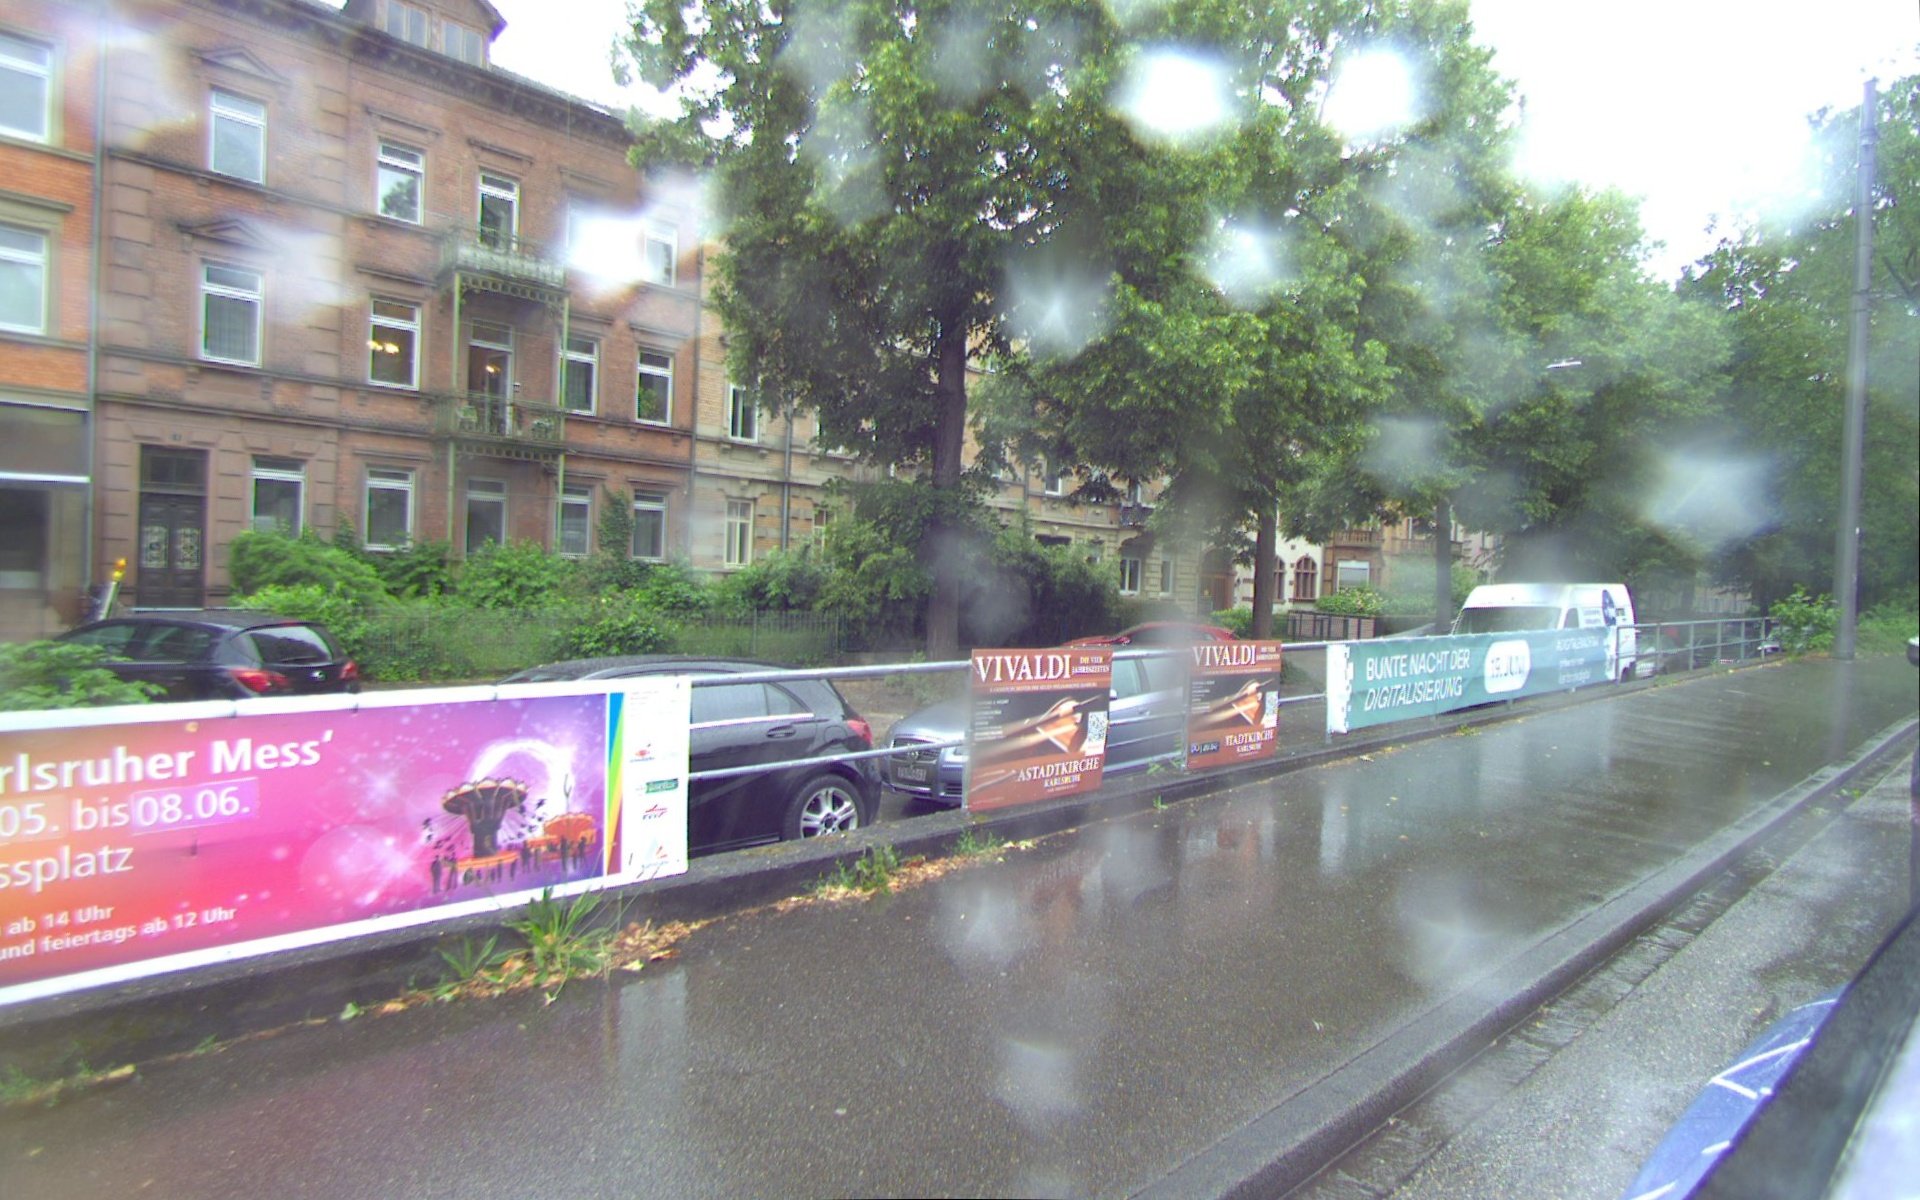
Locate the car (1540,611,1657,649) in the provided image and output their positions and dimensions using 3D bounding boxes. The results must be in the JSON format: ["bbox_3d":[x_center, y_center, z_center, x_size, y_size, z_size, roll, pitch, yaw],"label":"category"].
[{"bbox_3d":[28.488,1.312,45.288,3.942,1.585,1.991,0,1,15],"label":"car"}]

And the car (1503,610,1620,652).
[{"bbox_3d":[25.579,1.291,43.167,3.947,1.629,1.815,1,1,19],"label":"car"}]

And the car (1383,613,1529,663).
[{"bbox_3d":[16.499,1.239,33.886,4.214,1.397,1.679,2,2,22],"label":"car"}]

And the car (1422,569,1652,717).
[{"bbox_3d":[11.351,0.702,19.662,6.055,2.451,2.211,0,0,-43],"label":"car"}]

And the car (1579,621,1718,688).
[{"bbox_3d":[16.661,1.245,24.402,4.312,1.370,1.968,0,0,-44],"label":"car"}]

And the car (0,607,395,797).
[{"bbox_3d":[-8.622,0.985,11.113,3.939,1.735,1.992,0,1,13],"label":"car"}]

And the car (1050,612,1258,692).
[{"bbox_3d":[4.378,1.111,22.726,4.372,1.471,1.888,2,1,18],"label":"car"}]

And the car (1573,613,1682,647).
[{"bbox_3d":[32.060,1.430,48.725,3.942,1.482,1.904,0,1,15],"label":"car"}]

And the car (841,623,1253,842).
[{"bbox_3d":[0.983,1.061,9.772,4.006,1.559,1.734,0,0,-43],"label":"car"}]

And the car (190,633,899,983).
[{"bbox_3d":[-2.457,1.004,6.518,3.903,1.417,1.706,0,1,-41],"label":"car"}]
